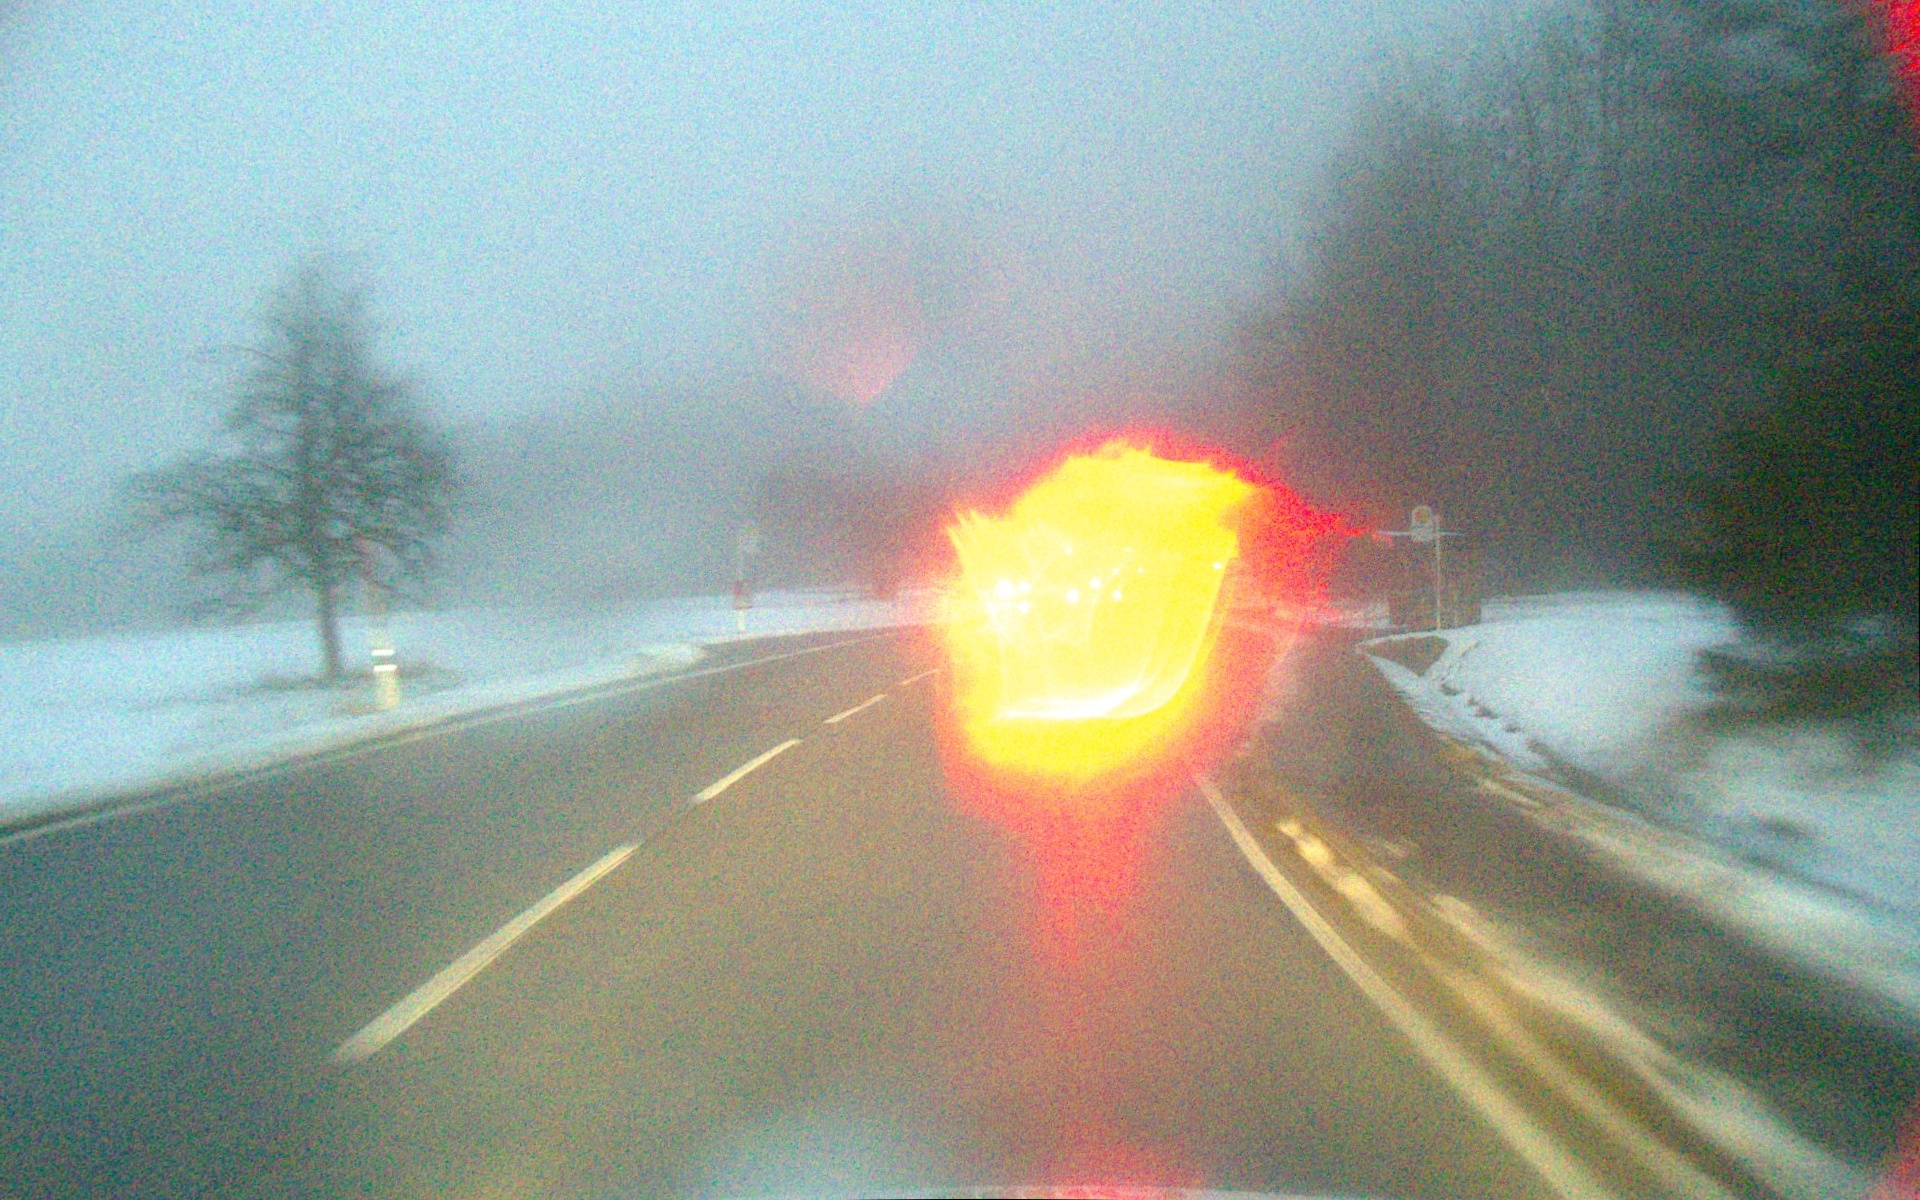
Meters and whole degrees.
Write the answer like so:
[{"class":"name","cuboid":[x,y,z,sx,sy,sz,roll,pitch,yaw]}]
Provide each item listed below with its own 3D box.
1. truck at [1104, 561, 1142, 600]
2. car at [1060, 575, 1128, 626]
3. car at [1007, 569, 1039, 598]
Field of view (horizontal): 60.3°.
[{"class":"truck","cuboid":[11.965,-1.431,121.533,2.034,2.793,5.317,-1,1,-3]},{"class":"car","cuboid":[3.938,-0.004,48.509,1.881,1.299,4.003,-1,2,5]},{"class":"car","cuboid":[3.935,-1.052,103.567,1.716,1.722,4.426,-2,1,0]}]
